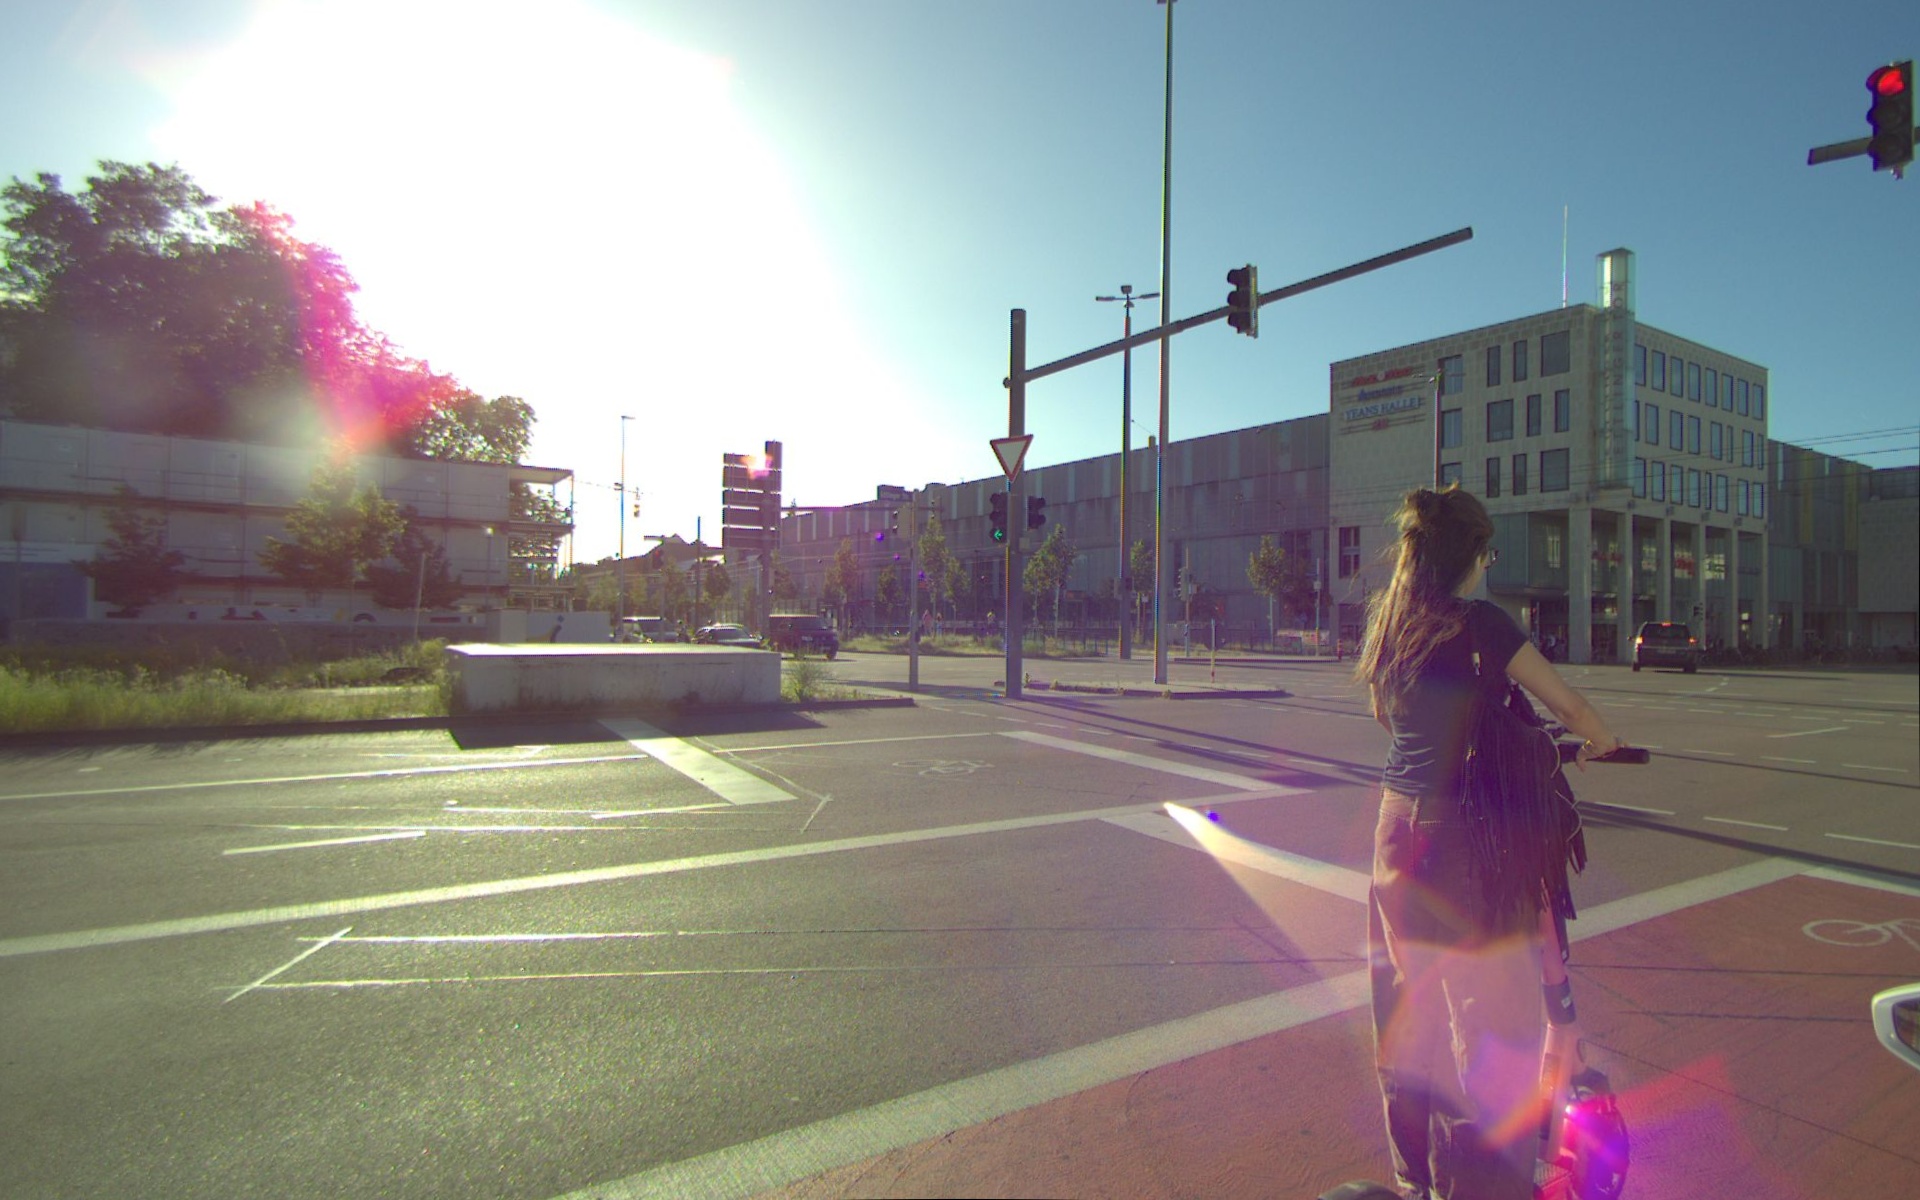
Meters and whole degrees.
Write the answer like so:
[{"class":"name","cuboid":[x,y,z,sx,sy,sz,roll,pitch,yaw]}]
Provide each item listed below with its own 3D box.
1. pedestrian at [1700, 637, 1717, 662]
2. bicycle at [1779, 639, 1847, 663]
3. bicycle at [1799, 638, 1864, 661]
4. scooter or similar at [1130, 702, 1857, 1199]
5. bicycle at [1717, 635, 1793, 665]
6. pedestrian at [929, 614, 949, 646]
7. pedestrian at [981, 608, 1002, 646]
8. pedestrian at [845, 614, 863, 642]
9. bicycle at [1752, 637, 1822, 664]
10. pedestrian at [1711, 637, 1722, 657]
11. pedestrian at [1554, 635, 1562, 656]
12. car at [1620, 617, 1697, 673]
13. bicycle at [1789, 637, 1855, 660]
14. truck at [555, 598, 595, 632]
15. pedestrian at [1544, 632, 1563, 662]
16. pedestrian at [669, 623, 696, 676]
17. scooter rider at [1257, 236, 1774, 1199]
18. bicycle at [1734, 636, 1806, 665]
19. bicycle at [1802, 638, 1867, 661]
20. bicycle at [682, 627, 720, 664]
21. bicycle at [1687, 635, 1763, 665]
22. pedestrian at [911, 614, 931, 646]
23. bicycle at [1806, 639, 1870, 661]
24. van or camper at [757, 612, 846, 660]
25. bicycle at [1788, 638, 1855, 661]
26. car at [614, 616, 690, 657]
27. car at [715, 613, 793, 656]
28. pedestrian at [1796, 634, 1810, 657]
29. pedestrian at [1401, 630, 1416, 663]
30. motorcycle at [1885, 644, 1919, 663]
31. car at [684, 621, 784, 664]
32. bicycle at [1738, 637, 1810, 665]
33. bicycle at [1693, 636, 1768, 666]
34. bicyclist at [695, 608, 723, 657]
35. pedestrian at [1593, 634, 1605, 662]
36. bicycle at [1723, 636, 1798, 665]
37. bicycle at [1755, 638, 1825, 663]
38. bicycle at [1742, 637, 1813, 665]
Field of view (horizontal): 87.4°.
[{"class":"pedestrian","cuboid":[50.040,3.297,67.150,0.689,1.664,0.777,1,-1,-40]},{"class":"bicycle","cuboid":[58.877,3.478,69.392,0.979,1.547,3.462,2,-2,-40]},{"class":"bicycle","cuboid":[62.669,3.523,72.256,0.979,1.547,3.462,2,-2,-40]},{"class":"scooter or similar","cuboid":[1.266,0.900,2.313,1.645,1.218,0.725,1,-1,-30]},{"class":"bicycle","cuboid":[48.218,3.012,60.942,1.107,1.719,3.465,1,-2,-38]},{"class":"pedestrian","cuboid":[-1.242,1.749,59.302,0.889,1.855,0.787,1,-1,-35]},{"class":"pedestrian","cuboid":[1.587,1.363,50.596,0.788,1.855,0.706,1,-1,-37]},{"class":"pedestrian","cuboid":[-6.962,1.832,65.779,0.889,1.855,0.787,1,-1,-35]},{"class":"bicycle","cuboid":[54.508,3.319,66.256,0.979,1.719,3.462,1,-2,-40]},{"class":"pedestrian","cuboid":[56.160,3.479,74.531,0.630,1.454,0.474,0,-1,38]},{"class":"pedestrian","cuboid":[41.098,3.140,69.048,0.380,1.445,0.502,0,-1,25]},{"class":"car","cuboid":[23.552,1.455,33.910,1.967,1.629,4.467,3,1,35]},{"class":"bicycle","cuboid":[61.191,3.450,71.306,0.979,1.547,3.462,2,-2,-40]},{"class":"truck","cuboid":[-33.475,1.328,87.254,1.979,2.875,6.293,1,-2,-33]},{"class":"pedestrian","cuboid":[36.912,2.930,62.479,0.729,1.822,0.753,1,-1,-32]},{"class":"pedestrian","cuboid":[-9.015,1.595,32.617,0.619,1.674,0.935,1,-1,-30]},{"class":"scooter rider","cuboid":[1.250,0.259,2.310,0.801,1.798,0.725,1,-1,-30]},{"class":"bicycle","cuboid":[51.123,3.189,63.427,0.979,1.719,3.462,1,-2,-40]},{"class":"bicycle","cuboid":[63.709,3.588,73.206,0.979,1.547,3.462,2,-2,-40]},{"class":"bicycle","cuboid":[-14.735,2.546,56.999,1.007,2.040,3.472,1,-2,-33]},{"class":"bicycle","cuboid":[45.702,2.976,60.036,1.107,1.719,3.465,1,-2,-38]},{"class":"pedestrian","cuboid":[-2.291,1.764,59.269,0.889,1.855,0.787,1,-1,-35]},{"class":"bicycle","cuboid":[64.509,3.644,73.855,0.979,1.547,3.462,2,-2,-40]},{"class":"van or camper","cuboid":[-7.254,1.594,45.563,1.981,2.040,4.821,1,-2,-36]},{"class":"bicycle","cuboid":[60.385,3.433,70.474,0.979,1.547,3.462,2,-2,-40]},{"class":"car","cuboid":[-14.793,1.705,48.103,1.981,1.849,4.821,1,-2,-36]},{"class":"car","cuboid":[-10.387,1.697,50.422,1.981,2.040,4.821,1,-2,-36]},{"class":"pedestrian","cuboid":[62.968,3.390,75.011,0.689,1.664,0.648,1,-1,-38]},{"class":"pedestrian","cuboid":[23.819,2.471,53.323,0.541,1.716,0.523,1,-1,-29]},{"class":"motorcycle","cuboid":[70.749,4.016,75.087,0.713,1.335,2.260,1,-2,-34]},{"class":"car","cuboid":[-9.395,1.706,41.516,2.313,1.671,4.821,1,-2,-37]},{"class":"bicycle","cuboid":[51.949,3.226,64.162,0.979,1.719,3.462,1,-2,-40]},{"class":"bicycle","cuboid":[46.624,3.036,60.835,1.107,1.719,3.465,1,-2,-38]},{"class":"bicyclist","cuboid":[-13.966,1.779,55.911,1.007,2.677,1.610,1,-1,-34]},{"class":"pedestrian","cuboid":[37.727,2.819,59.311,0.533,1.664,0.548,0,-1,38]},{"class":"bicycle","cuboid":[49.147,3.079,61.742,1.107,1.719,3.465,1,-2,-38]},{"class":"bicycle","cuboid":[55.259,3.328,66.924,0.979,1.547,3.462,2,-2,-40]},{"class":"bicycle","cuboid":[52.862,3.258,64.966,0.979,1.719,3.462,1,-2,-40]}]
